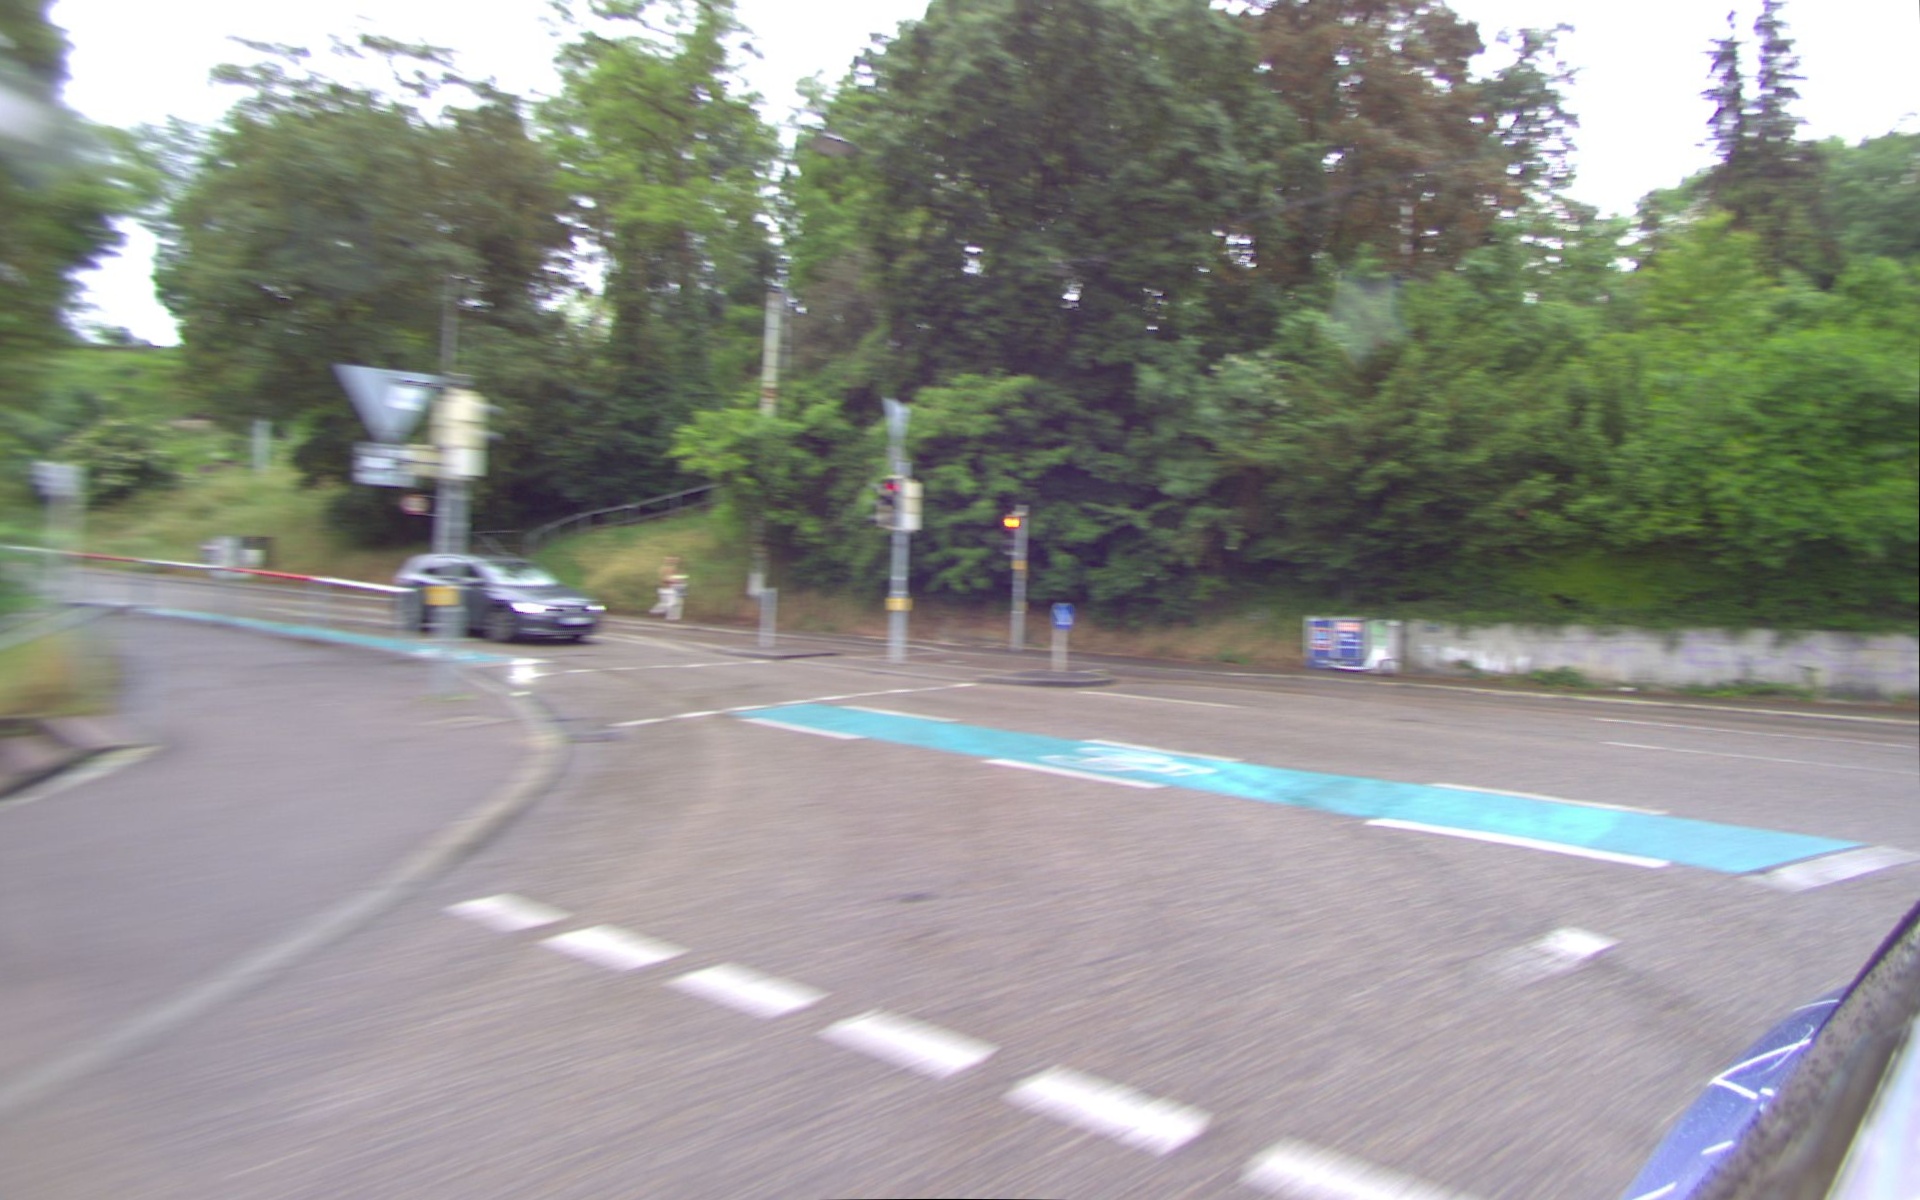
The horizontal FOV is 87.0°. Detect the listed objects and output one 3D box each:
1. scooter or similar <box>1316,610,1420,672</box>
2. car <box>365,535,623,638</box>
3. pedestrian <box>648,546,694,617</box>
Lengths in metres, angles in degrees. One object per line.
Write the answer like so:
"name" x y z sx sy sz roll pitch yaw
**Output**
"scooter or similar" 8.005 0.788 19.884 1.762 1.088 0.594 3 -1 42
"car" -8.529 -0.295 18.434 4.652 1.540 1.869 4 2 29
"pedestrian" -7.606 -0.478 26.635 0.790 1.775 0.644 5 -1 22
